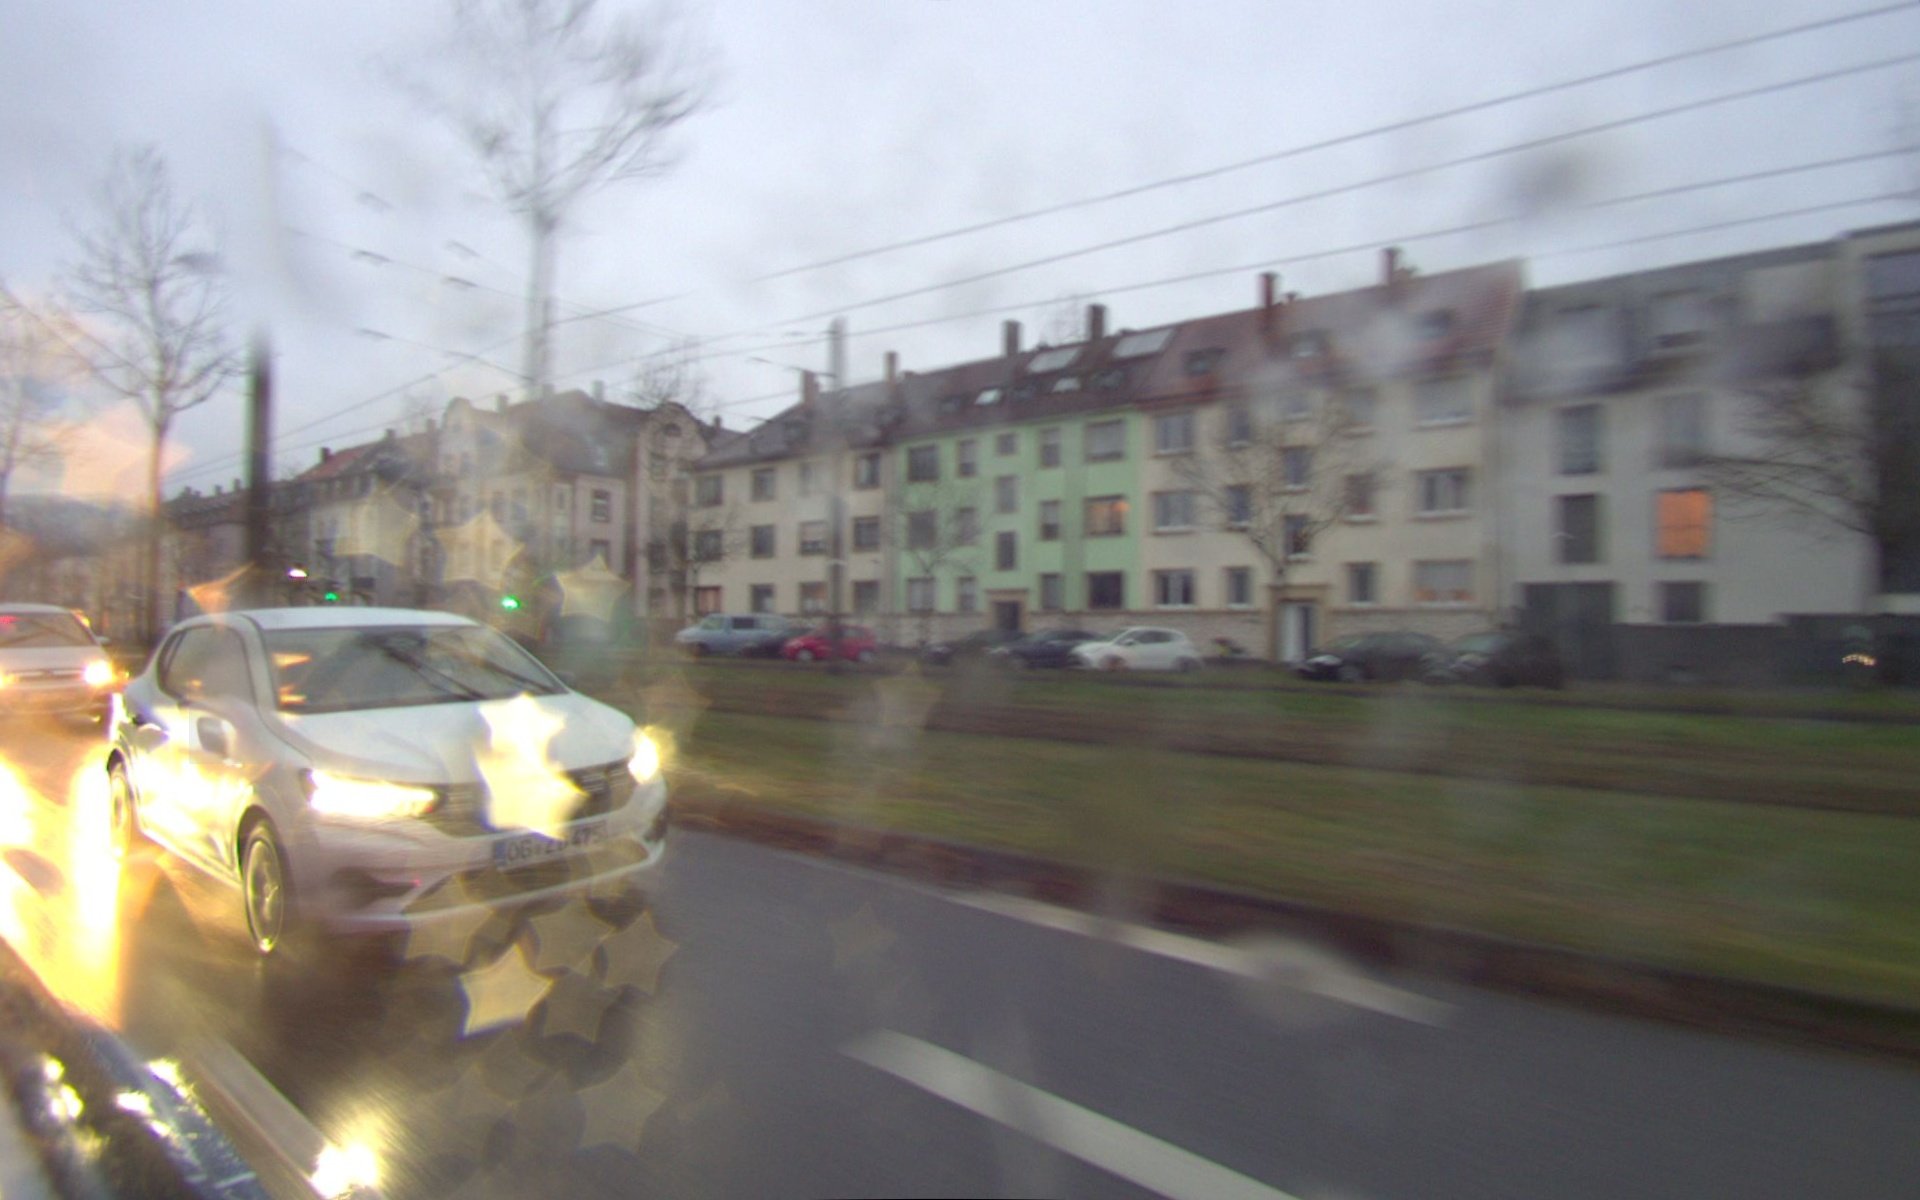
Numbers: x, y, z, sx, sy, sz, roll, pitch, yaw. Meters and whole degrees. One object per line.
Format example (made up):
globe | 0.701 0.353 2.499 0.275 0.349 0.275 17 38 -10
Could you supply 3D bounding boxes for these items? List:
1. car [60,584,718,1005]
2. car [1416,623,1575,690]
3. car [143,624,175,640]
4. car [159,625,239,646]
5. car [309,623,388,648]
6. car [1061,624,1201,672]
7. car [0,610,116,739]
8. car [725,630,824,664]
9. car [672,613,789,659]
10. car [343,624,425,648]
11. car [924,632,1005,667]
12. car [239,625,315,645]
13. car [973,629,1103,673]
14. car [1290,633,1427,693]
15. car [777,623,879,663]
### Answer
car | -3.266 0.707 5.468 3.995 1.485 1.673 -1 0 38
car | 13.028 1.322 24.618 3.326 1.432 1.675 -1 0 -23
car | -70.906 2.841 89.565 3.906 1.350 1.451 -1 0 39
car | -58.381 2.723 77.746 4.584 1.442 1.699 -1 0 -17
car | -38.259 2.209 63.417 3.976 1.239 1.353 -3 2 -17
car | 5.138 1.409 30.491 3.777 1.255 1.743 -1 0 -22
car | -12.816 0.921 13.492 3.902 1.531 1.618 -1 0 38
car | -7.288 1.820 39.668 3.510 1.149 1.742 -1 0 -21
car | -9.613 1.463 42.348 4.578 1.736 1.839 -1 0 -20
car | -35.181 2.211 61.941 4.036 1.169 1.717 -2 2 -14
car | 0.143 1.644 34.015 2.351 1.056 1.441 -1 -1 -21
car | -49.732 2.532 73.723 4.195 1.267 1.838 -1 0 -13
car | 2.458 1.591 32.212 3.757 1.181 1.742 -1 0 -13
car | 10.439 1.611 26.556 2.886 1.346 1.743 -1 0 -21
car | -5.005 1.591 38.343 3.519 1.319 1.692 -1 0 -21
